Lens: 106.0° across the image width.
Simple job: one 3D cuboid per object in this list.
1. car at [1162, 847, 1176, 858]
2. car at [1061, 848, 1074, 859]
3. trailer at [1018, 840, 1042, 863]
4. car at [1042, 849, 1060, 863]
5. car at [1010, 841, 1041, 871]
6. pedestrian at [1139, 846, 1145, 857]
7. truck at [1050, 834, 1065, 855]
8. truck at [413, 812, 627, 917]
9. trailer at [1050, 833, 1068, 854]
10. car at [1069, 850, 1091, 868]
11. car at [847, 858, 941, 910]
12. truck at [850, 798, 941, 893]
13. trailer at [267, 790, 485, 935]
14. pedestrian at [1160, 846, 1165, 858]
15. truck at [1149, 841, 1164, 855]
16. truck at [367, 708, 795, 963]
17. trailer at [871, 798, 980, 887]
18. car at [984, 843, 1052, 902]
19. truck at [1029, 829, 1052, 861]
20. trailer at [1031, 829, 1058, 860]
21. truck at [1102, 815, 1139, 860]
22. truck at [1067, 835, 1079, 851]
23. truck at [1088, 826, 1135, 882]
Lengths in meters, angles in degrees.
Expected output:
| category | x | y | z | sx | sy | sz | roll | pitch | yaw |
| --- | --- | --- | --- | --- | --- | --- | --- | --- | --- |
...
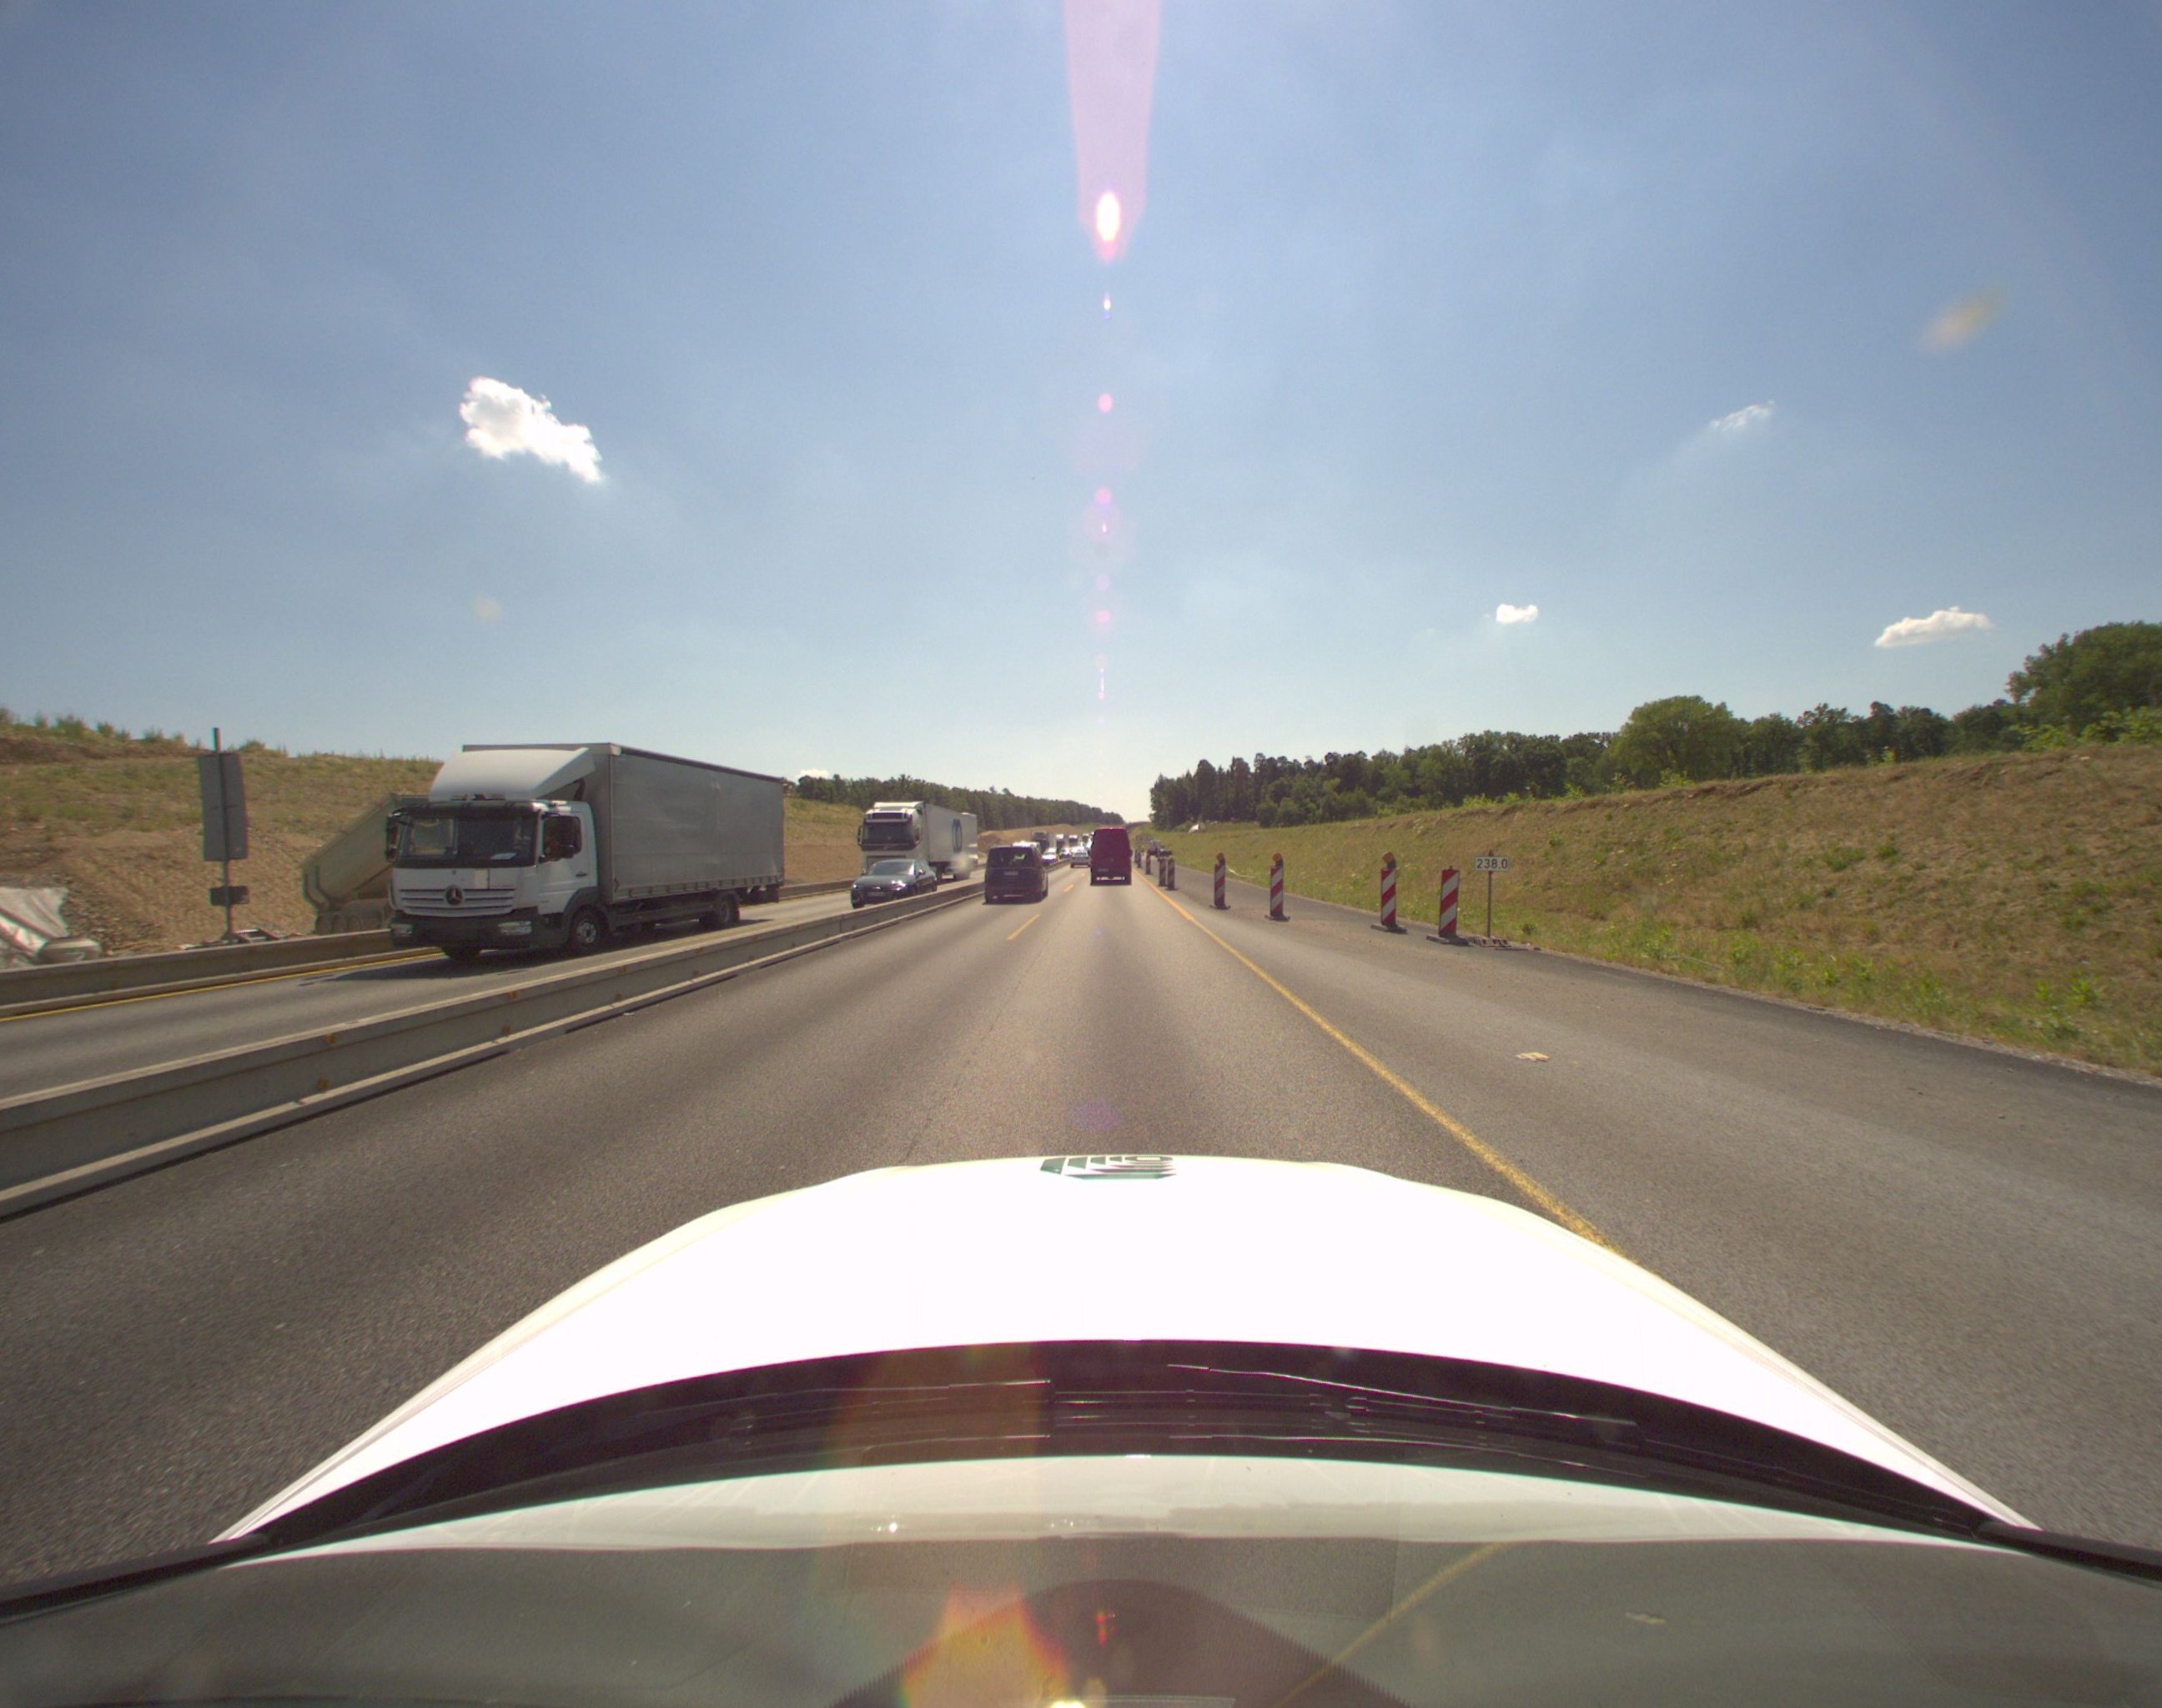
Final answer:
| category | x | y | z | sx | sy | sz | roll | pitch | yaw |
| --- | --- | --- | --- | --- | --- | --- | --- | --- | --- |
| car | 13.267 | -0.215 | 122.847 | 1.647 | 1.426 | 4.548 | -3 | 1 | 3 |
| car | -2.039 | -0.063 | 120.894 | 1.682 | 1.613 | 4.595 | -1 | 0 | 2 |
| trailer | -6.316 | -0.358 | 101.761 | 2.303 | 2.686 | 6.759 | -3 | 0 | 2 |
| car | -3.249 | 0.248 | 89.501 | 1.682 | 1.502 | 3.978 | -1 | 0 | 2 |
| car | -4.355 | 0.162 | 64.658 | 1.986 | 2.292 | 5.345 | -1 | 0 | 1 |
| pedestrian | 10.259 | -0.478 | 137.332 | 0.725 | 1.828 | 0.716 | 0 | -1 | -17 |
| truck | -4.527 | -1.804 | 155.108 | 2.582 | 4.053 | 5.151 | -1 | 0 | 1 |
| truck | -17.063 | 0.280 | 25.184 | 5.071 | 2.964 | 2.565 | 0 | 0 | -25 |
| trailer | -4.253 | -2.035 | 162.224 | 2.643 | 3.938 | 14.004 | -1 | 0 | 2 |
| car | -0.037 | 0.458 | 73.786 | 1.824 | 1.522 | 3.963 | -1 | 0 | 2 |
| car | -5.628 | 0.849 | 25.108 | 1.851 | 1.442 | 4.500 | -1 | 0 | 0 |
| truck | -8.554 | -0.367 | 38.038 | 2.838 | 4.018 | 4.861 | -2 | 0 | 2 |
| trailer | -22.795 | 0.278 | 26.198 | 8.262 | 4.098 | 2.817 | -1 | -1 | 31 |
| pedestrian | 12.676 | -0.315 | 125.953 | 0.624 | 1.828 | 0.640 | 0 | 1 | -10 |
| truck | 13.044 | -1.052 | 140.842 | 2.117 | 2.456 | 5.941 | 0 | 1 | 9 |
| truck | -9.015 | -0.245 | 16.703 | 2.634 | 3.716 | 9.487 | -1 | 0 | 2 |
| trailer | -8.188 | -0.523 | 45.217 | 2.843 | 4.093 | 13.659 | -2 | 0 | 2 |
| car | -2.043 | 0.539 | 27.657 | 1.744 | 1.824 | 4.785 | -1 | 1 | 2 |
| truck | -5.659 | -1.288 | 113.551 | 2.481 | 4.198 | 5.915 | -3 | 0 | 2 |
| trailer | -5.302 | -1.339 | 121.180 | 2.492 | 4.179 | 15.544 | -3 | 0 | 3 |
| truck | 5.107 | -1.945 | 107.283 | 4.383 | 5.496 | 16.611 | -1 | 0 | 2 |
| truck | -2.134 | -2.984 | 215.971 | 2.757 | 4.044 | 4.946 | -1 | 0 | 3 |
| truck | 1.442 | 0.009 | 40.292 | 2.146 | 2.590 | 5.333 | -1 | 0 | 1 |
